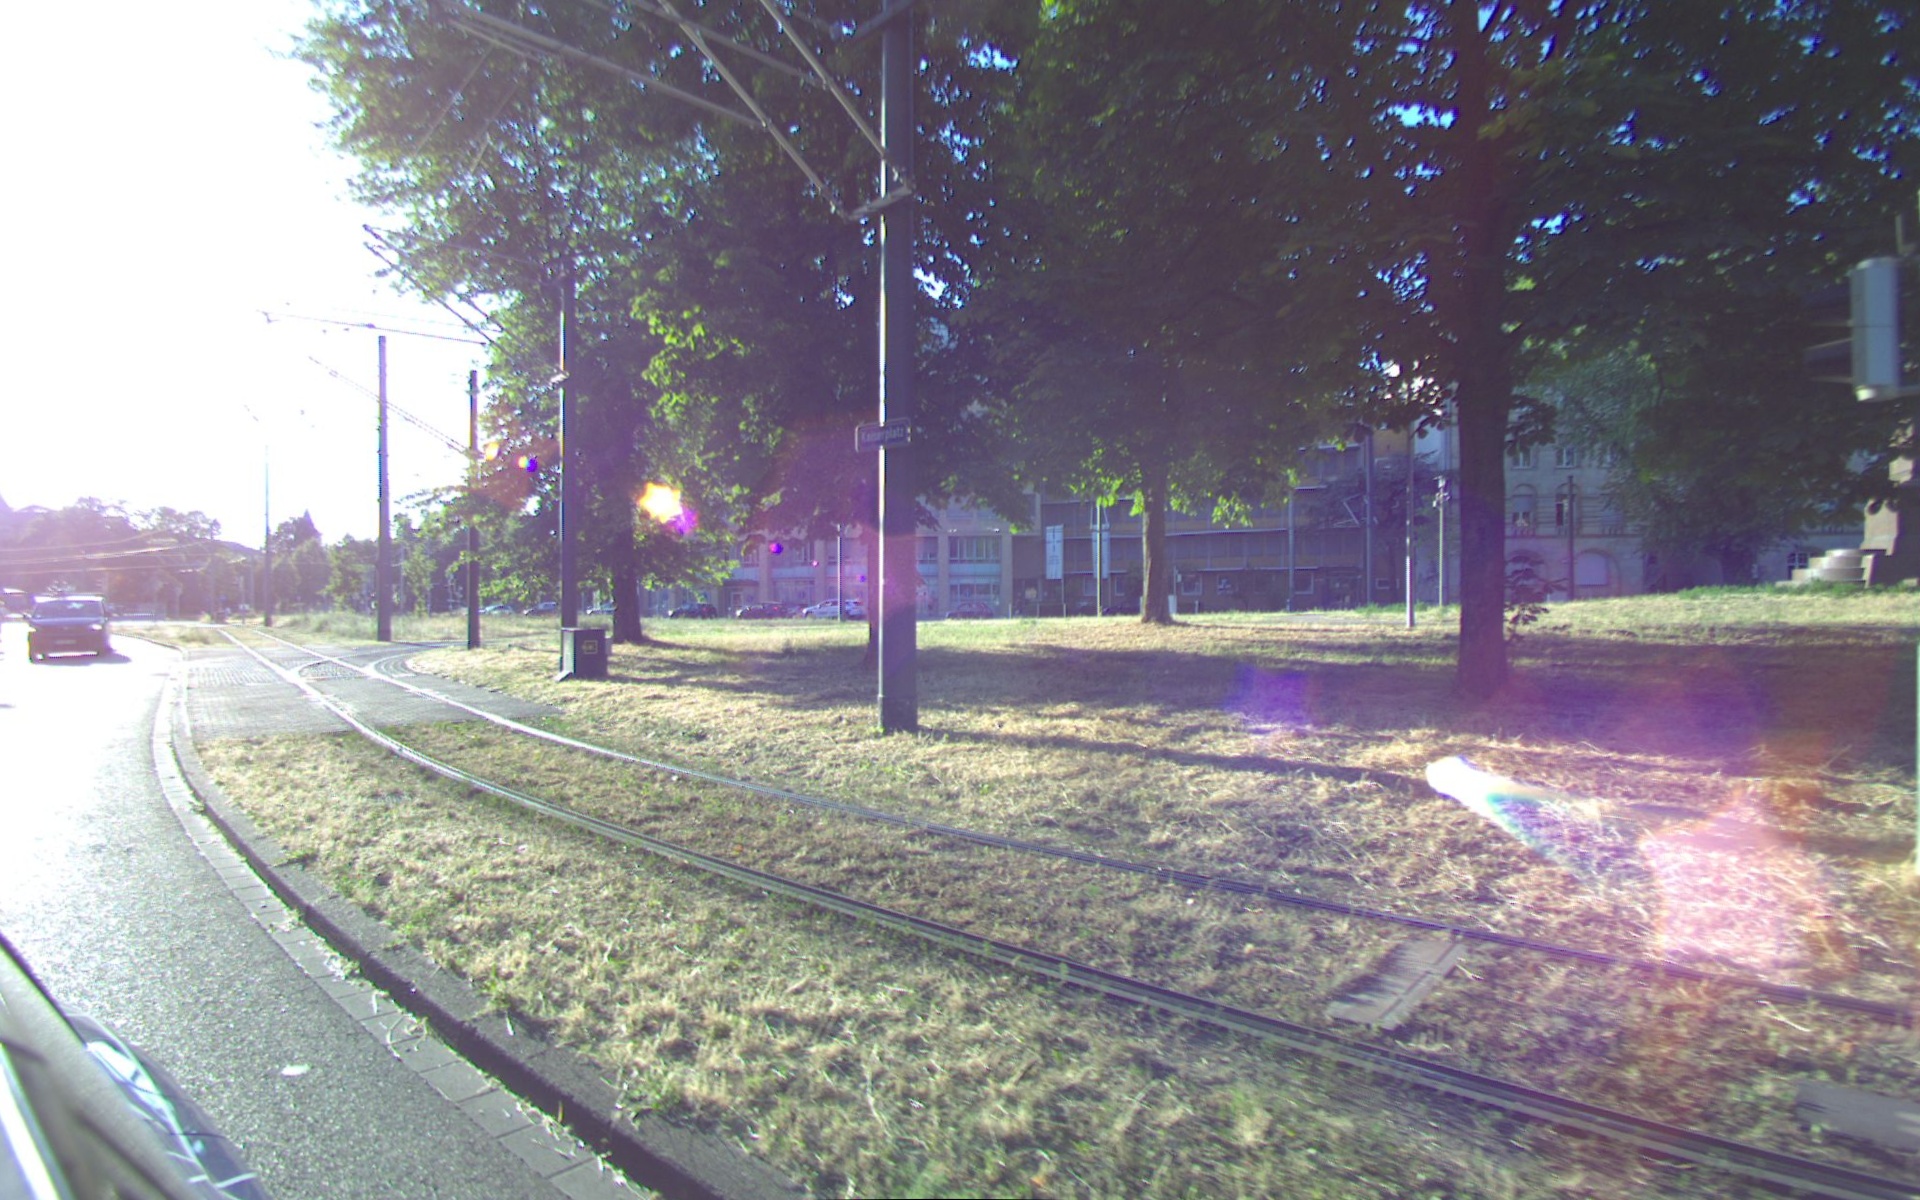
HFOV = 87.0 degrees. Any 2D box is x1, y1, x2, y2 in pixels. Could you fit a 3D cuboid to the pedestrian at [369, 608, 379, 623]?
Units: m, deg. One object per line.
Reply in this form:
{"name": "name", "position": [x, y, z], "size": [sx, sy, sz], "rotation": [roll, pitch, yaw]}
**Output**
{"name": "pedestrian", "position": [-65.821, 1.757, 113.653], "size": [0.715, 1.685, 0.730], "rotation": [-1, -1, 31]}

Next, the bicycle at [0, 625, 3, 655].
{"name": "bicycle", "position": [-33.321, 1.372, 34.793], "size": [1.981, 1.035, 0.473], "rotation": [-1, 0, 43]}

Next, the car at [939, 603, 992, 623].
{"name": "car", "position": [0.398, 0.954, 73.409], "size": [3.498, 1.364, 1.543], "rotation": [-1, 0, 24]}

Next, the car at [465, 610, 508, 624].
{"name": "car", "position": [-52.202, 1.855, 111.684], "size": [1.896, 1.431, 3.957], "rotation": [-1, 0, 31]}

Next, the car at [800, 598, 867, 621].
{"name": "car", "position": [-8.778, 0.664, 70.125], "size": [4.281, 1.493, 1.762], "rotation": [-1, 0, 23]}

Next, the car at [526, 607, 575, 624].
{"name": "car", "position": [-33.620, 1.280, 83.012], "size": [3.772, 1.292, 1.714], "rotation": [-1, 0, 29]}

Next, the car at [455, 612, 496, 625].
{"name": "car", "position": [-56.118, 2.111, 117.164], "size": [1.894, 1.431, 3.962], "rotation": [-1, 0, 28]}

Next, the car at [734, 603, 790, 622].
{"name": "car", "position": [-14.197, 0.868, 72.657], "size": [3.719, 1.291, 1.637], "rotation": [-1, 0, 26]}

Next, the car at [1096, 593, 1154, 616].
{"name": "car", "position": [10.711, 0.284, 65.497], "size": [3.493, 1.364, 1.545], "rotation": [-2, 0, 19]}

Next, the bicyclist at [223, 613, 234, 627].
{"name": "bicyclist", "position": [-82.483, 2.276, 114.091], "size": [0.812, 1.595, 0.519], "rotation": [-1, 1, 10]}

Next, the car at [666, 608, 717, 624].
{"name": "car", "position": [-20.105, 1.187, 75.670], "size": [3.580, 1.162, 1.511], "rotation": [-1, 0, 27]}

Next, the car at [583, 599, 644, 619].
{"name": "car", "position": [-27.167, 0.730, 79.291], "size": [4.764, 1.491, 1.875], "rotation": [-1, 1, 31]}

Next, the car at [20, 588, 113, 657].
{"name": "car", "position": [-28.379, 0.671, 32.275], "size": [1.890, 2.005, 4.957], "rotation": [-1, 0, -38]}

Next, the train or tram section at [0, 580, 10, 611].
{"name": "train or tram section", "position": [-115.934, -0.435, 119.171], "size": [10.520, 3.562, 2.756], "rotation": [-1, 0, 28]}

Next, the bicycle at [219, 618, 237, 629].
{"name": "bicycle", "position": [-82.519, 2.626, 114.082], "size": [1.898, 1.155, 0.458], "rotation": [-1, 1, 10]}

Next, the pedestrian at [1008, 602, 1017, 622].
{"name": "pedestrian", "position": [3.916, 0.885, 75.554], "size": [0.483, 1.441, 0.411], "rotation": [-1, -1, 28]}

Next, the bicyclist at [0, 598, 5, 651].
{"name": "bicyclist", "position": [-33.430, 0.851, 34.785], "size": [1.057, 1.821, 0.817], "rotation": [-1, 0, 43]}

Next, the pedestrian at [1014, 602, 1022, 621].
{"name": "pedestrian", "position": [4.347, 0.865, 76.182], "size": [0.483, 1.441, 0.411], "rotation": [-1, -1, 28]}
